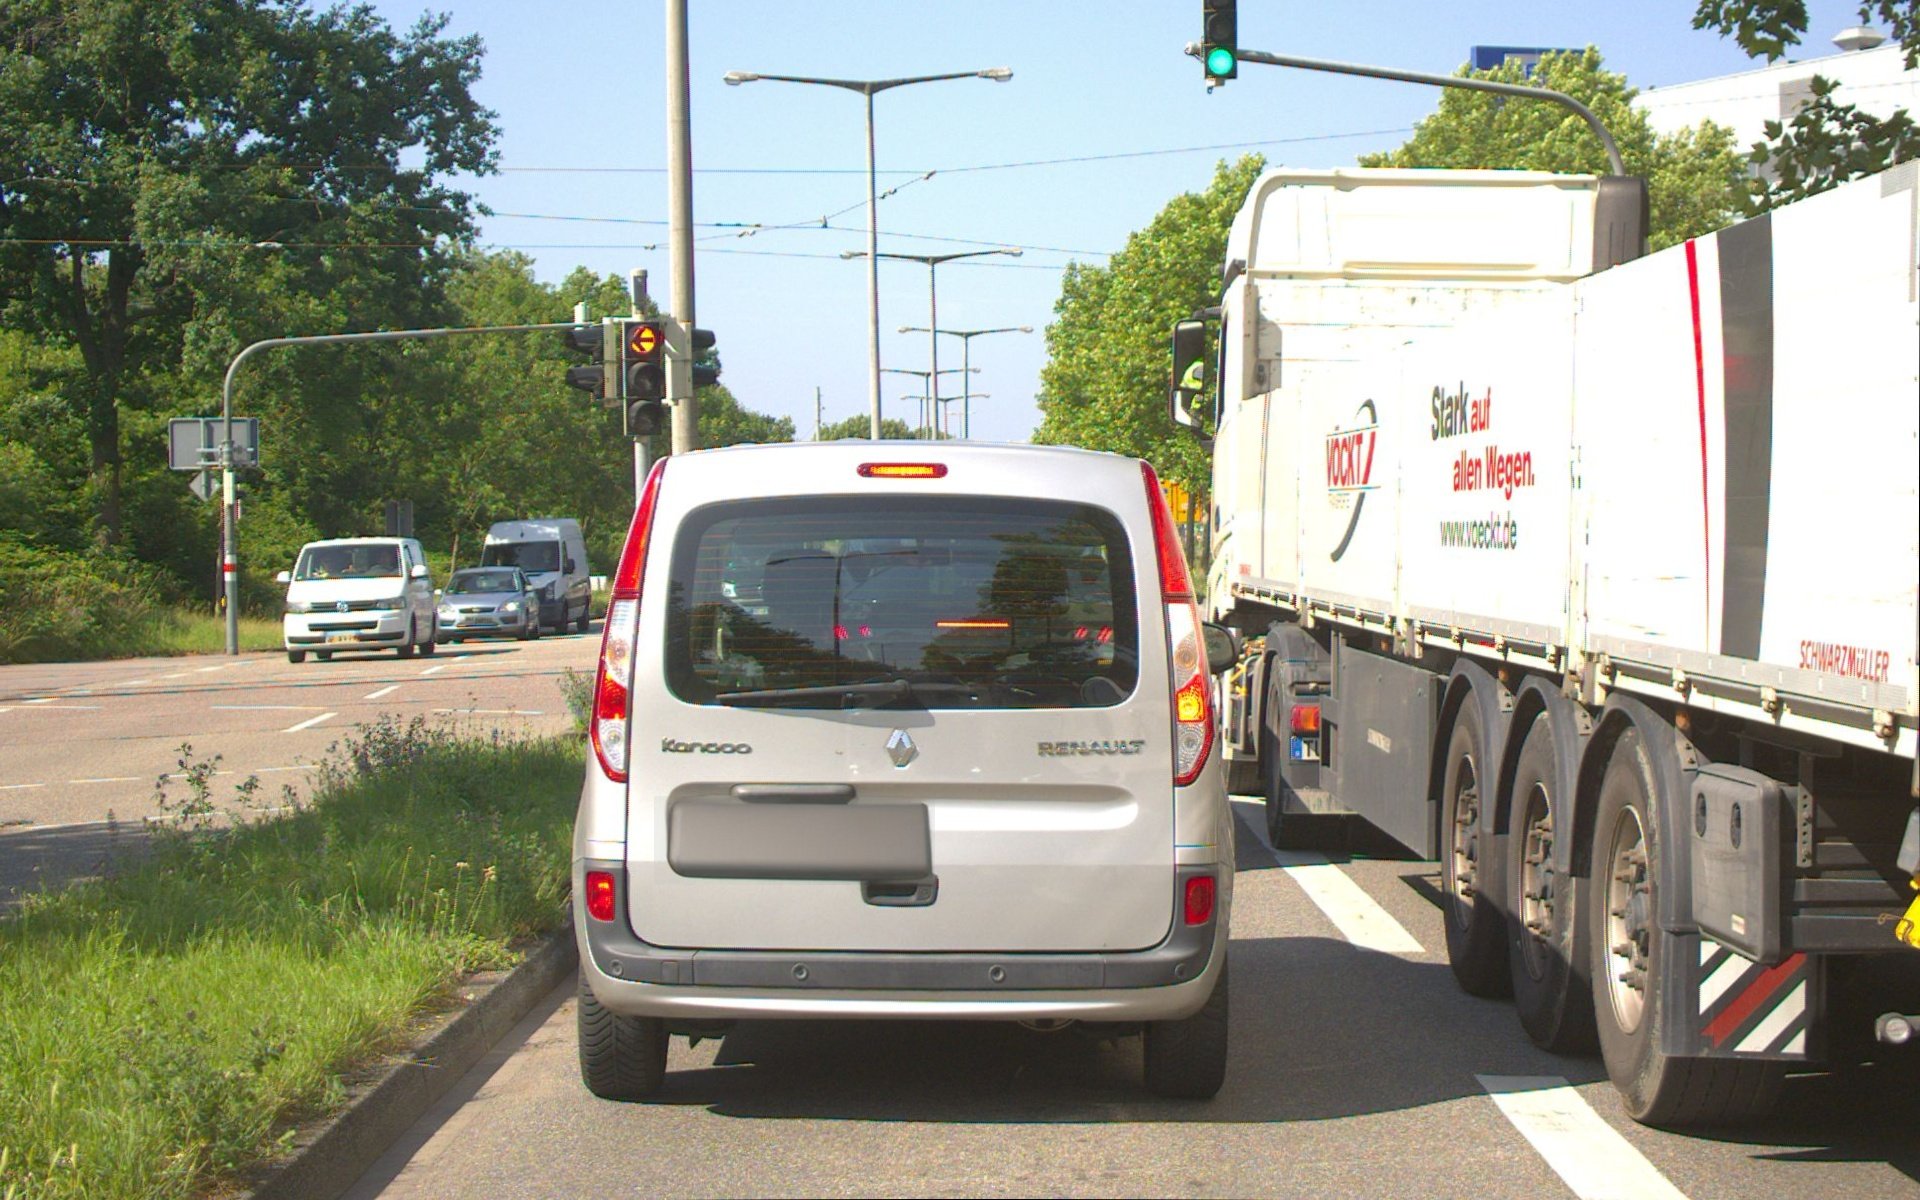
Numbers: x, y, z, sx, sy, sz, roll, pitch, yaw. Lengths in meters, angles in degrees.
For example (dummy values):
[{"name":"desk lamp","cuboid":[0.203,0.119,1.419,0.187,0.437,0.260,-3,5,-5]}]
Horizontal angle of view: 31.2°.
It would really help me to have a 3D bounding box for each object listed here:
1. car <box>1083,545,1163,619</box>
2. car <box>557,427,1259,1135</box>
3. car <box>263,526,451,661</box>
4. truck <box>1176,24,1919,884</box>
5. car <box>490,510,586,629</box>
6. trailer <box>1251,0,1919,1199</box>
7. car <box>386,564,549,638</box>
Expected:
[{"name":"car","cuboid":[4.532,-0.507,95.932,1.993,2.007,4.000,0,1,-1]},{"name":"car","cuboid":[-0.142,0.432,10.563,1.749,1.766,3.949,0,1,0]},{"name":"car","cuboid":[-9.249,-0.127,53.119,1.993,1.884,4.988,-3,1,-1]},{"name":"truck","cuboid":[3.003,-0.675,18.752,3.071,3.745,7.476,0,1,-1]},{"name":"car","cuboid":[-9.599,-0.698,78.570,2.058,2.605,5.871,0,1,-6]},{"name":"trailer","cuboid":[2.981,-0.547,11.632,3.016,3.728,12.240,0,1,0]},{"name":"car","cuboid":[-9.712,-0.004,67.534,1.911,1.404,4.228,0,1,-27]}]
